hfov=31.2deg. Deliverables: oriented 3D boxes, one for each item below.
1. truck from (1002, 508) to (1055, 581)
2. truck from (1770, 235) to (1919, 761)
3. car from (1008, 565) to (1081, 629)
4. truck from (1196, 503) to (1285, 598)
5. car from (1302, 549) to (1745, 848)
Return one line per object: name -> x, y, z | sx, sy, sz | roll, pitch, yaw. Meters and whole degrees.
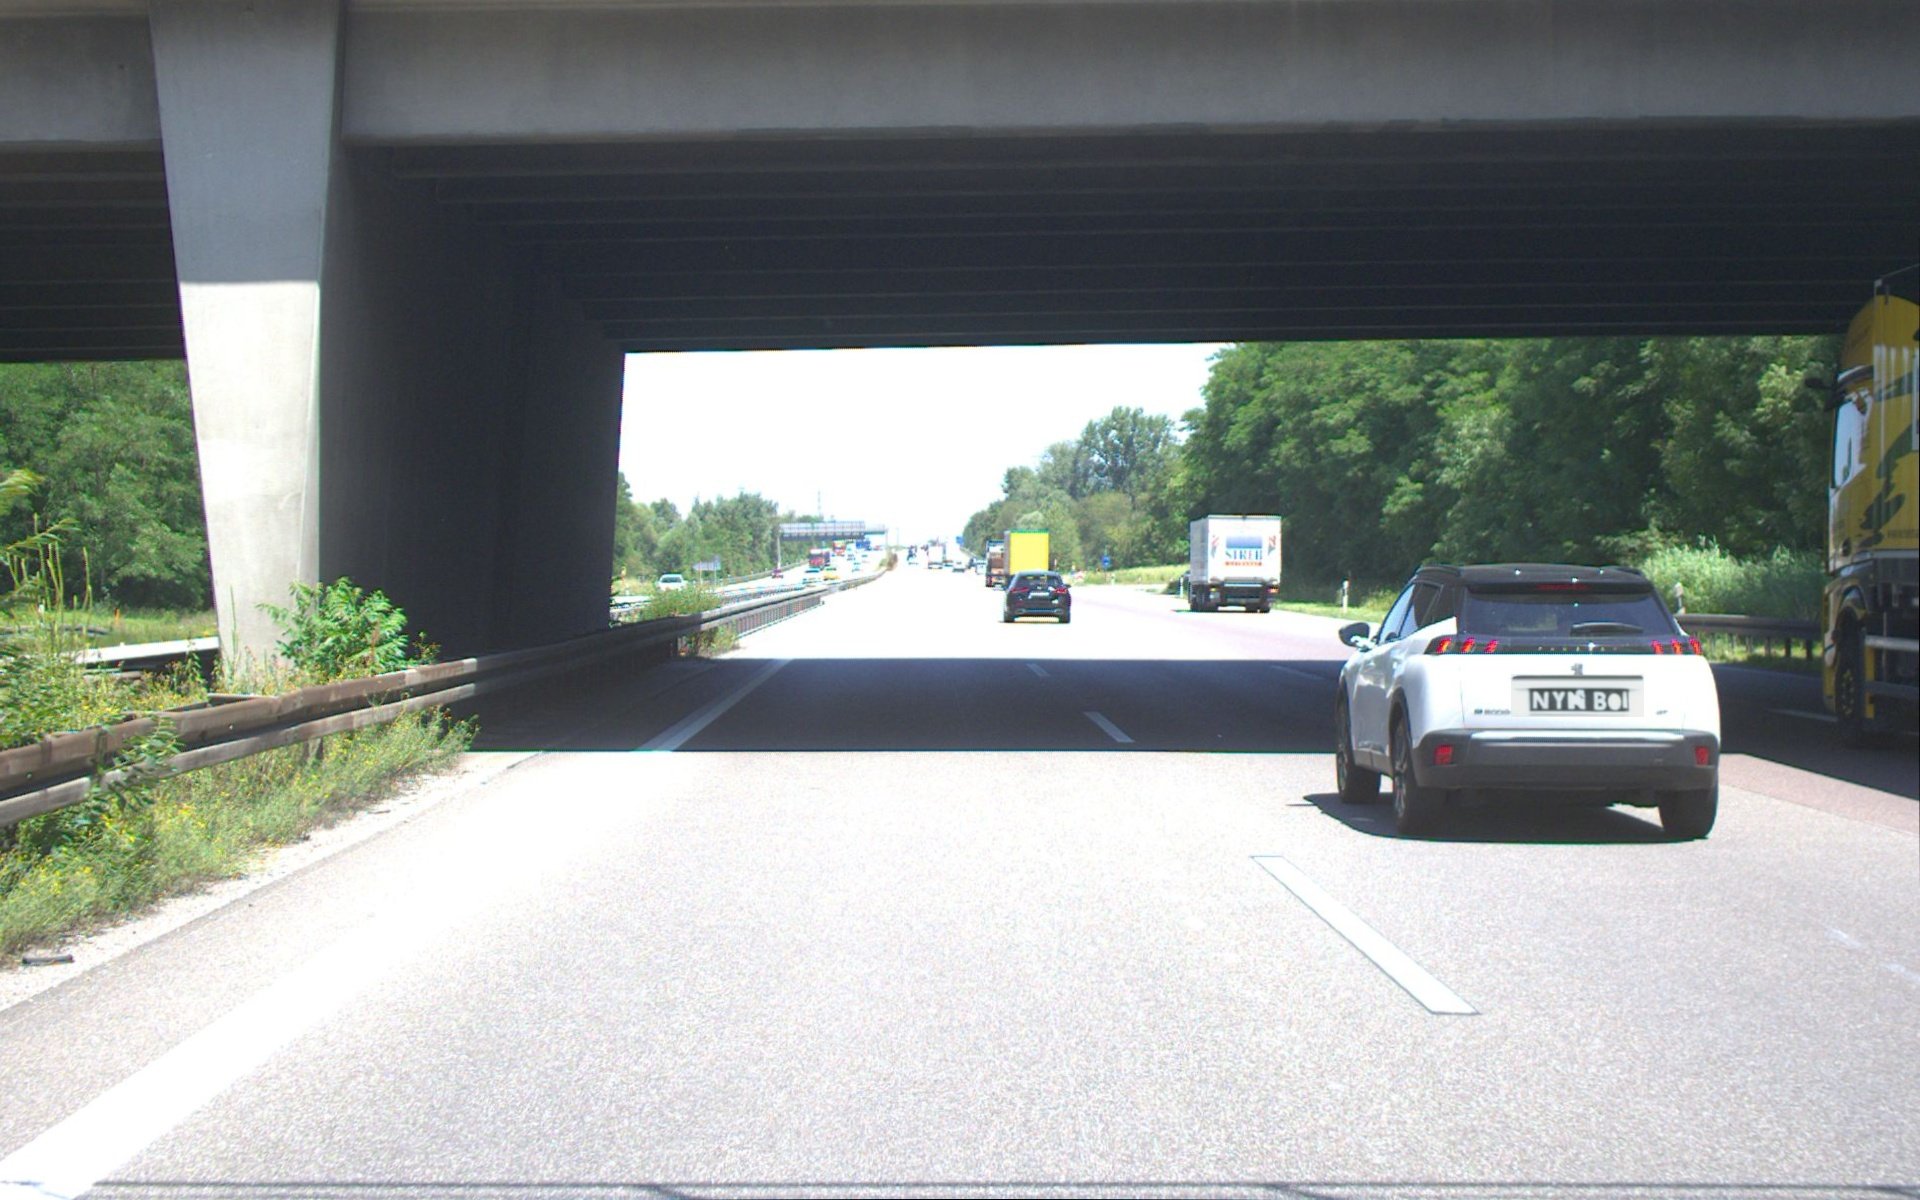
truck -> 4.742, -3.796, 240.375 | 3.377, 4.864, 15.086 | 1, 0, 0
truck -> 8.804, -0.750, 26.024 | 2.975, 4.023, 10.981 | 2, 0, 2
car -> 2.330, -0.097, 95.696 | 1.827, 1.700, 4.000 | 1, 0, -1
truck -> 10.158, -1.763, 125.395 | 3.028, 3.308, 10.769 | 1, 0, 4
car -> 3.269, 0.513, 20.887 | 1.827, 1.602, 4.809 | 0, 0, -1
